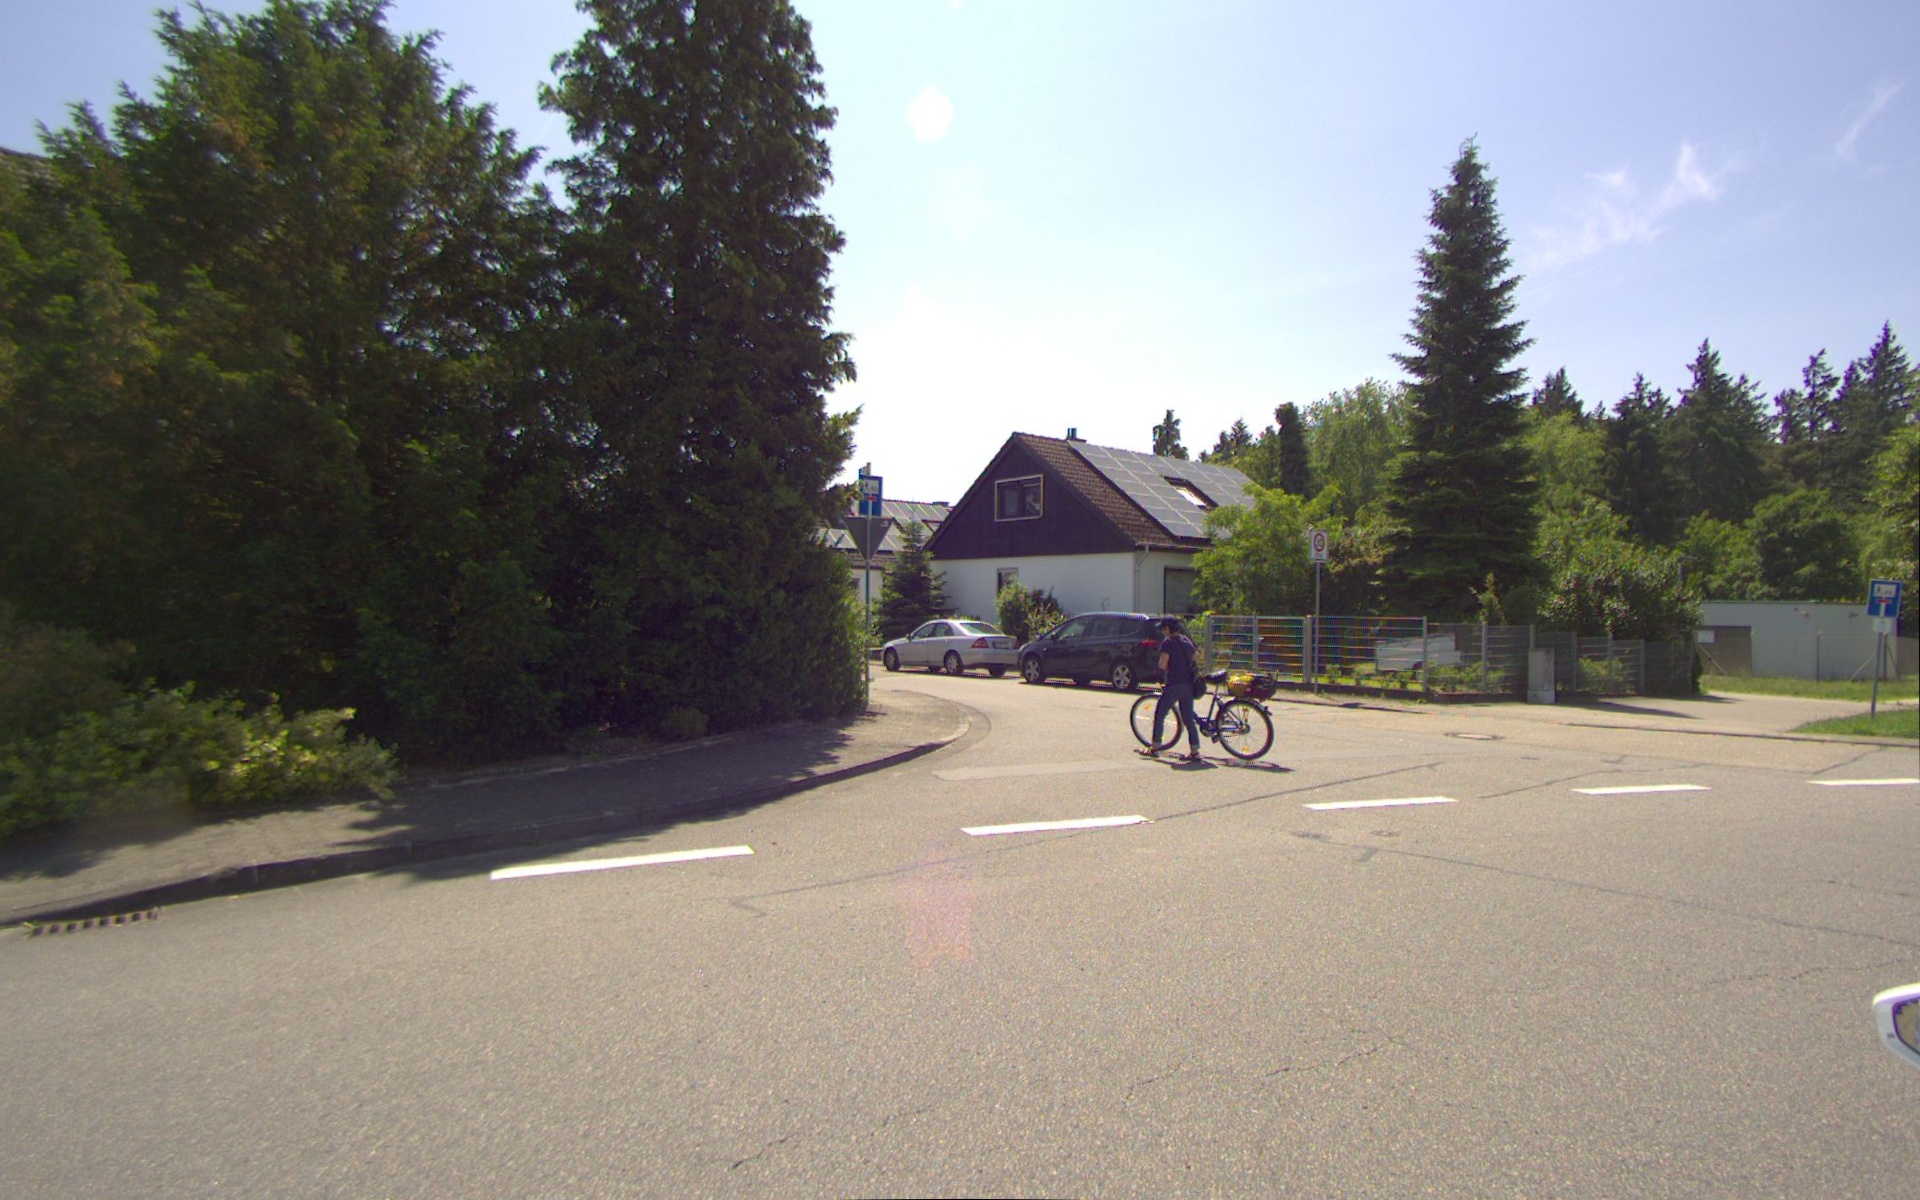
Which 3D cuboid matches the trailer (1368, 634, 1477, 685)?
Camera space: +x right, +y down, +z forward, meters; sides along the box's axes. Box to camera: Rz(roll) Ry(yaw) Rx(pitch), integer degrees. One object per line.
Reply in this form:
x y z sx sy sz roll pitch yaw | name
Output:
11.222 1.420 24.407 2.191 1.098 1.100 0 -1 43 | trailer

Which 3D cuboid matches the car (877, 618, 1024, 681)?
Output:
-0.339 1.250 26.799 1.677 1.479 4.289 1 -1 -38 | car

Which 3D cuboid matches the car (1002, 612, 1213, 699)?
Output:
3.181 1.141 22.531 1.952 1.684 4.630 1 -1 -38 | car

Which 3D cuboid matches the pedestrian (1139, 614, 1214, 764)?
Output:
2.295 0.912 10.641 0.602 1.521 0.502 1 0 39 | pedestrian

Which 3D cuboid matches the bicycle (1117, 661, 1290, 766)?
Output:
2.616 1.200 10.952 1.820 0.976 0.441 1 0 39 | bicycle

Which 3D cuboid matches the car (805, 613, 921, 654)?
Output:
-3.825 1.327 39.994 4.219 1.506 1.977 1 -1 -40 | car
